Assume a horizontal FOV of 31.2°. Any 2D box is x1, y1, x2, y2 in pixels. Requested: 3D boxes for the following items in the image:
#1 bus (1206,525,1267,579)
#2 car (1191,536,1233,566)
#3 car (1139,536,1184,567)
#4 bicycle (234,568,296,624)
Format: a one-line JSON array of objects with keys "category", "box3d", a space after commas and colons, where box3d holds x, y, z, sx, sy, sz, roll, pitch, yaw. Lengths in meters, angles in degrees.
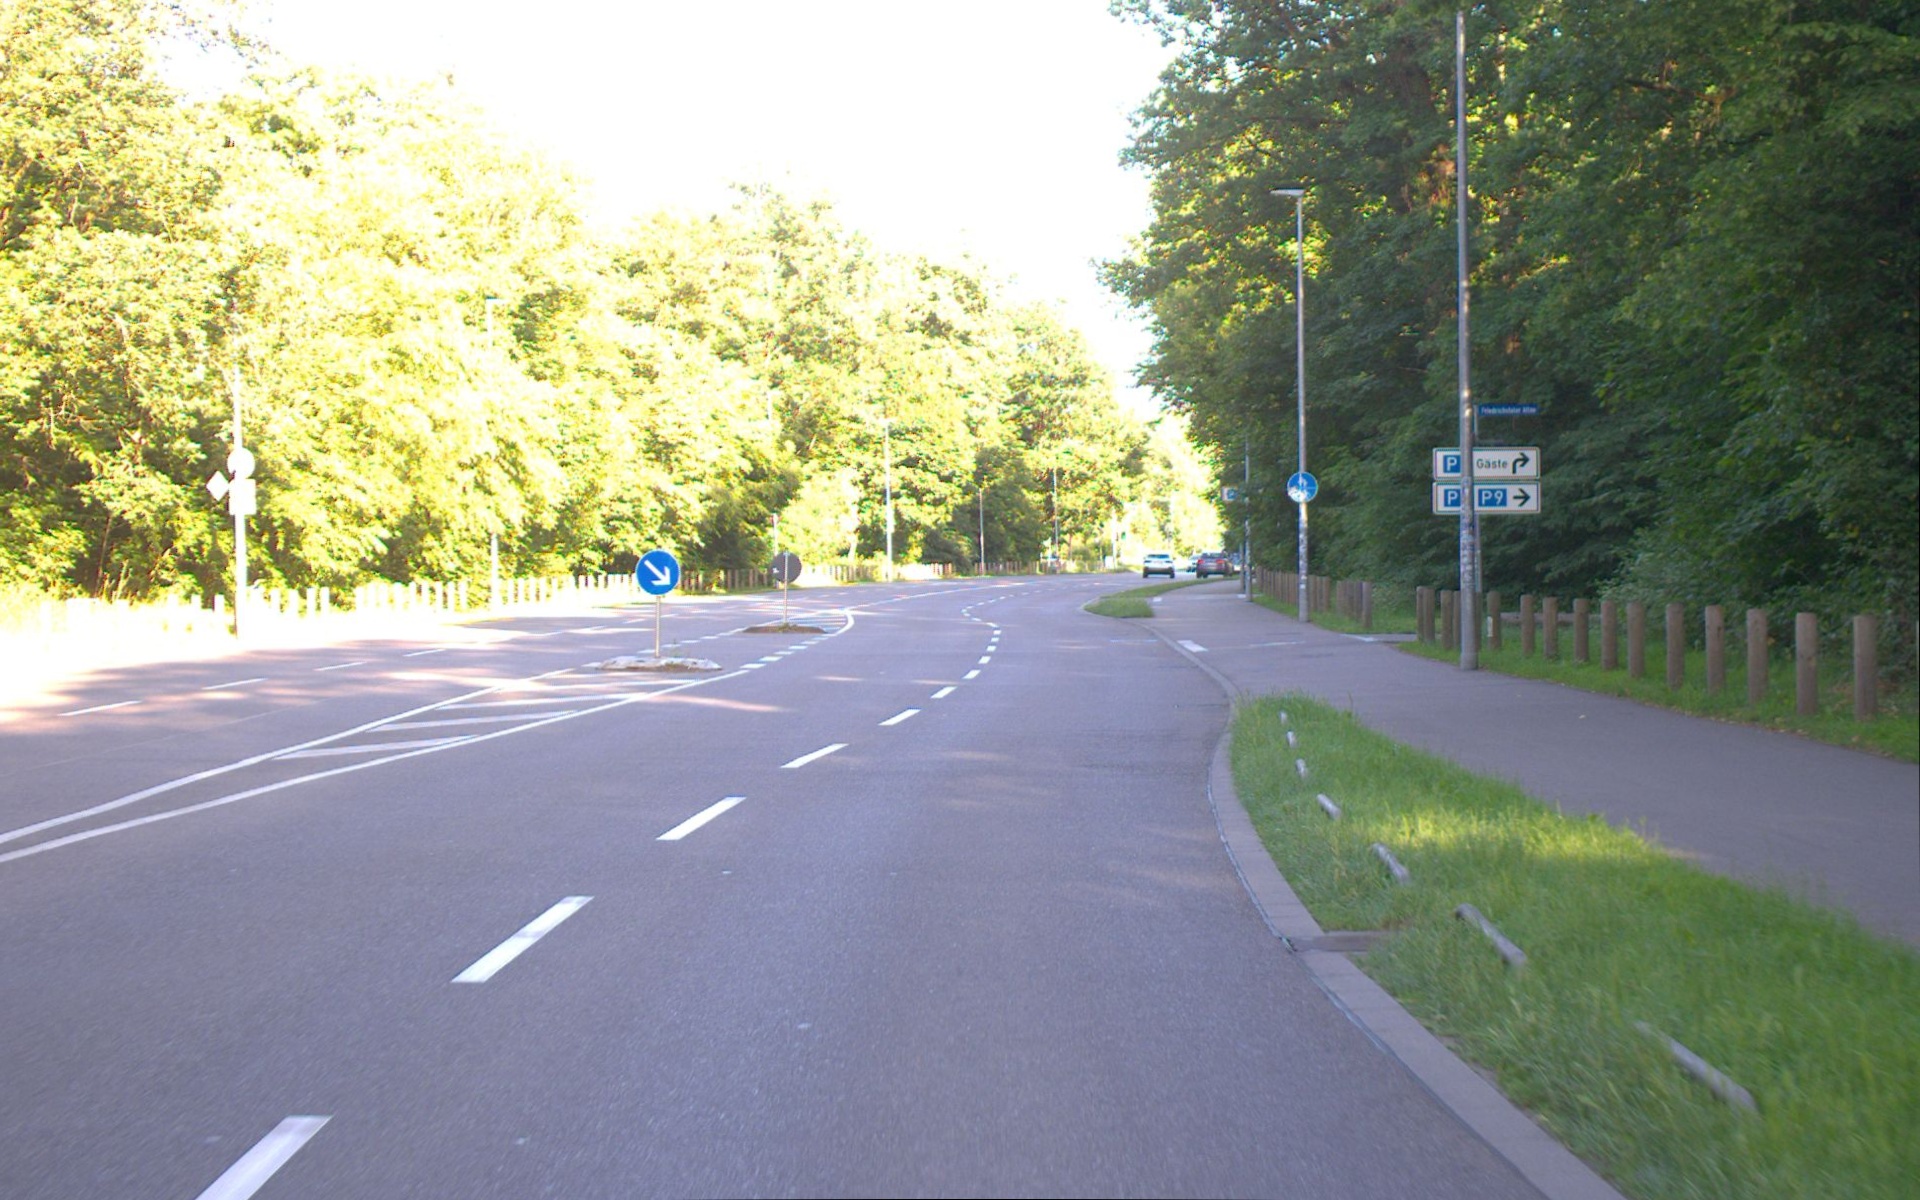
[{"category": "bus", "box3d": [17.675, -3.084, 219.319, 2.607, 3.357, 7.971, 0, 1, 14]}, {"category": "car", "box3d": [15.152, -2.951, 206.569, 1.881, 1.759, 3.998, -1, 1, 14]}, {"category": "car", "box3d": [11.836, -2.859, 201.770, 1.881, 1.703, 3.998, -1, 1, 14]}, {"category": "bicycle", "box3d": [-14.305, -0.100, 70.815, 0.401, 1.128, 2.218, 1, 1, 11]}]
